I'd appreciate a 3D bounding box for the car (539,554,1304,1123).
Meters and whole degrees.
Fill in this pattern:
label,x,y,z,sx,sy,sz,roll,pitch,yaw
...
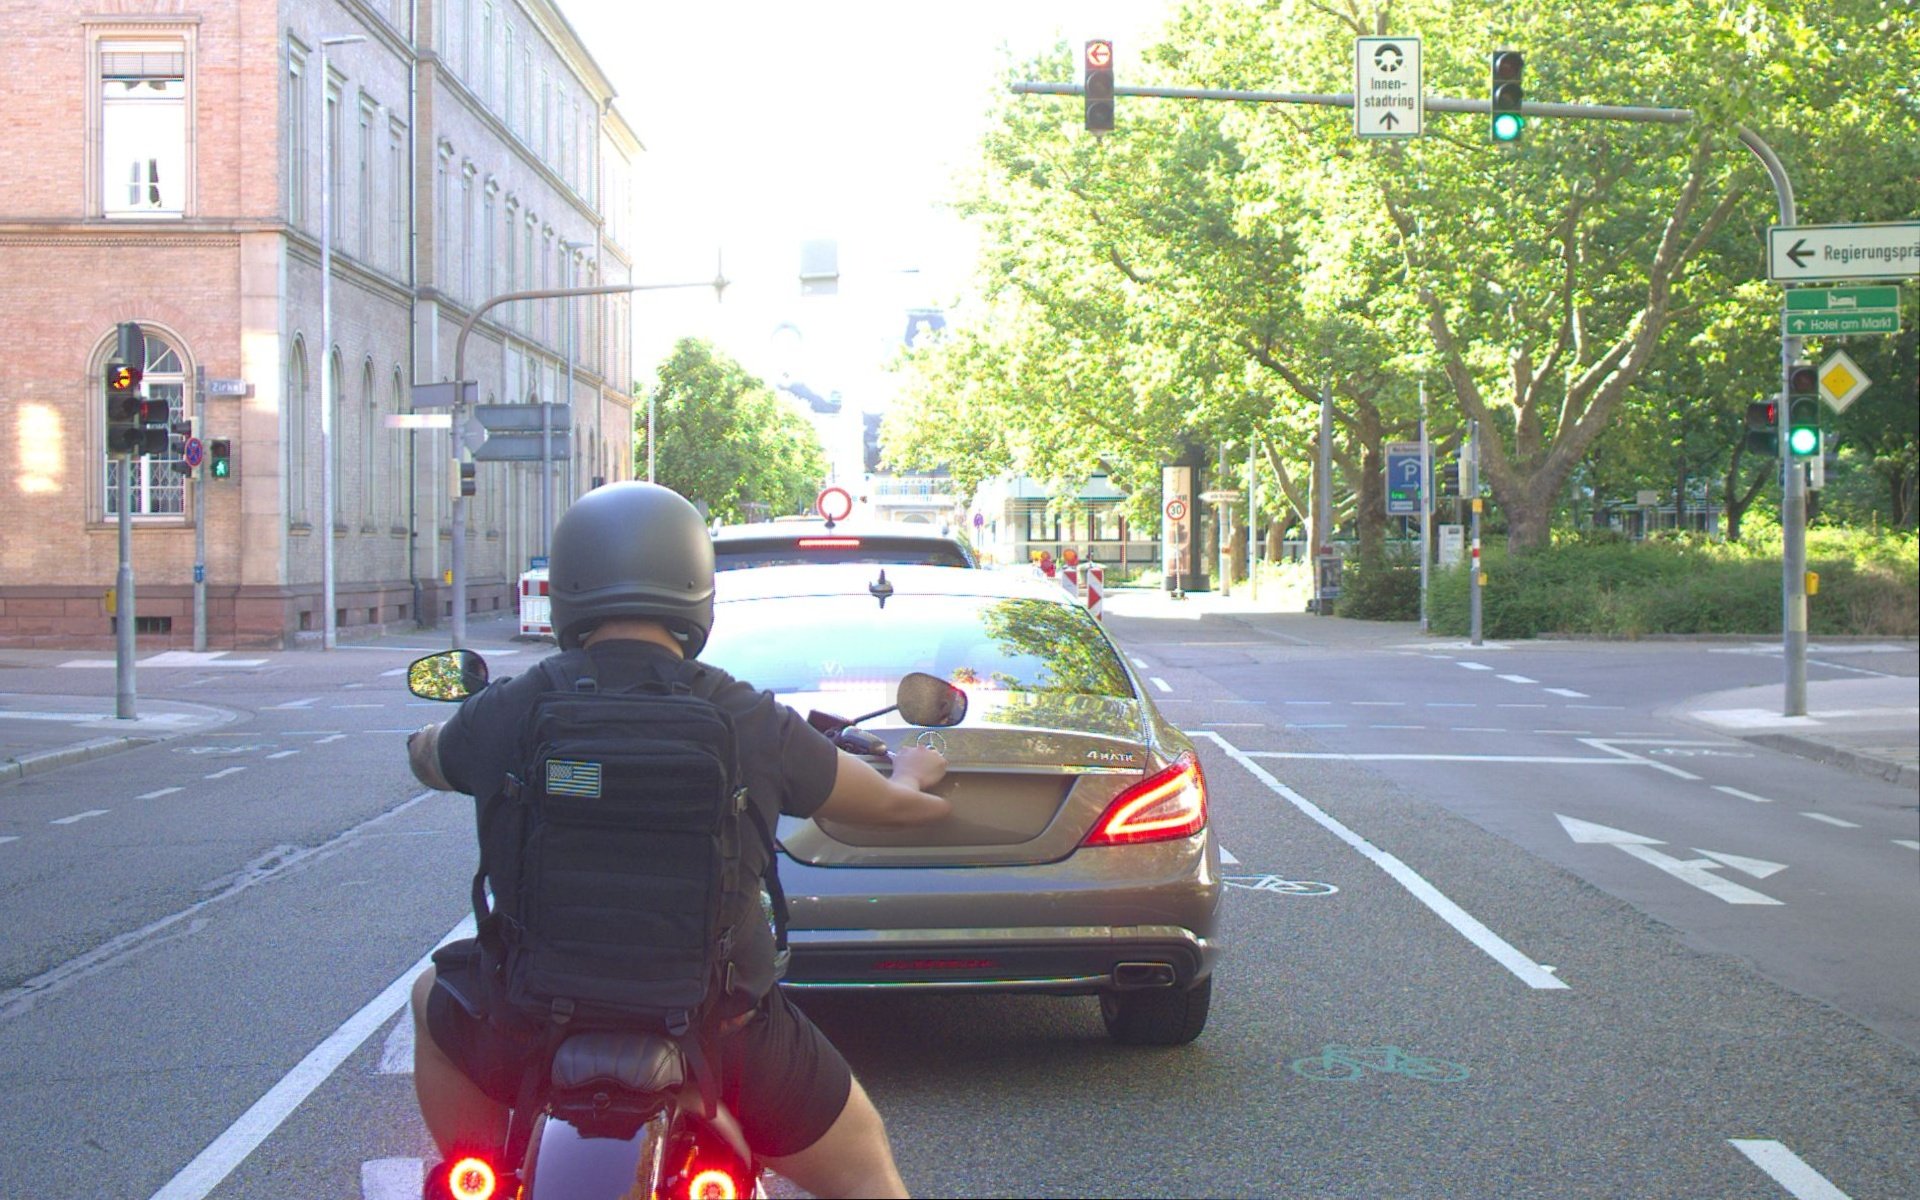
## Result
label,x,y,z,sx,sy,sz,roll,pitch,yaw
car,-0.345,0.583,11.085,1.901,1.436,4.290,0,1,-8

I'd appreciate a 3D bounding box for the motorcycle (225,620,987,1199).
label,x,y,z,sx,sy,sz,roll,pitch,yaw
motorcycle,-0.468,0.734,5.545,0.962,1.352,2.320,1,1,-1

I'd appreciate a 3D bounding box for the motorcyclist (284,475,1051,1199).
label,x,y,z,sx,sy,sz,roll,pitch,yaw
motorcyclist,-0.419,0.616,5.273,1.061,1.577,0.908,1,0,-1

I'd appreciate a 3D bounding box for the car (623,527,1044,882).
label,x,y,z,sx,sy,sz,roll,pitch,yaw
car,-0.650,0.414,16.776,1.813,1.530,3.849,0,1,-3
